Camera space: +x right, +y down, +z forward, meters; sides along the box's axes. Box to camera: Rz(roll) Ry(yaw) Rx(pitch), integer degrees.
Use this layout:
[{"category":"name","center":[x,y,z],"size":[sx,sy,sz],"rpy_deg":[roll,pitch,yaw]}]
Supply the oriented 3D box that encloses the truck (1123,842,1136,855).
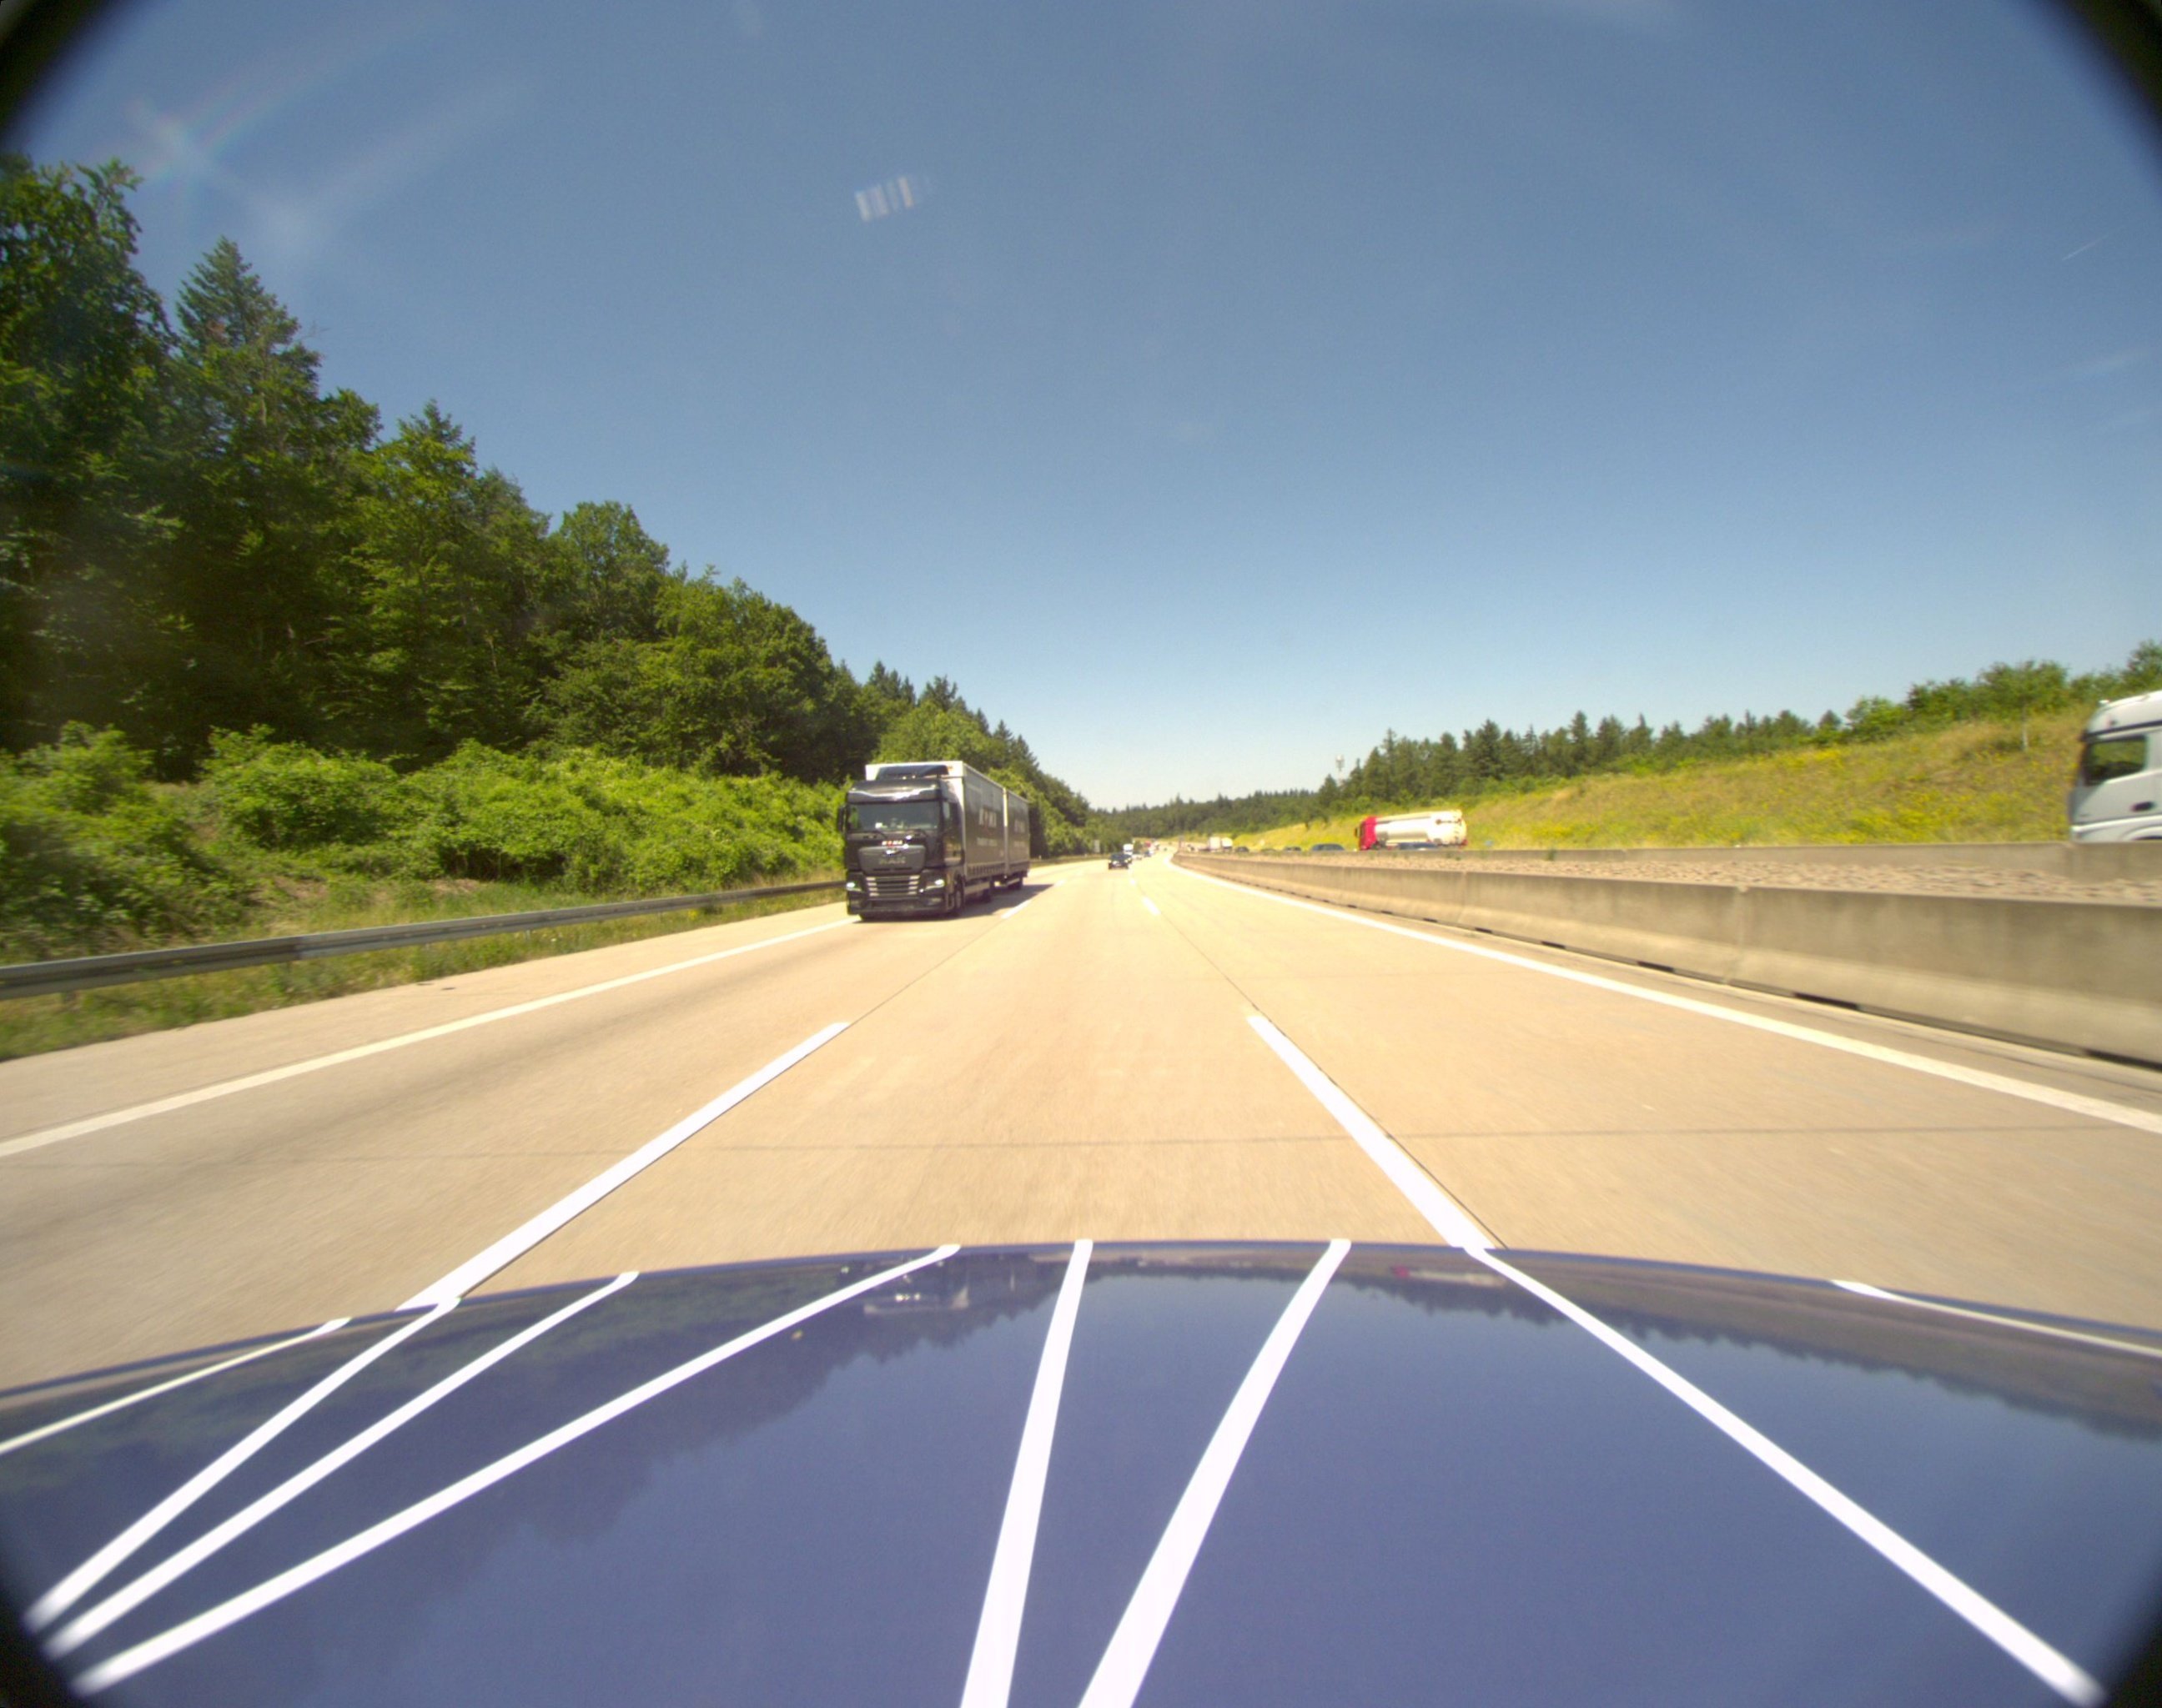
[{"category":"truck","center":[12.140,-1.387,189.892],"size":[2.482,2.779,5.918],"rpy_deg":[-5,1,9]}]

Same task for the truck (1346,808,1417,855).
[{"category":"truck","center":[22.550,-1.639,57.373],"size":[2.940,3.196,5.905],"rpy_deg":[-4,1,1]}]

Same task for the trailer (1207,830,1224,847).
[{"category":"trailer","center":[33.949,-3.832,192.136],"size":[3.167,3.909,13.872],"rpy_deg":[-4,1,7]}]

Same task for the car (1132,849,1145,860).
[{"category":"car","center":[9.784,0.099,129.140],"size":[1.998,1.694,4.400],"rpy_deg":[-5,1,4]}]

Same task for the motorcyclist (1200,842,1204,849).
[{"category":"motorcyclist","center":[32.351,-2.260,203.313],"size":[0.820,1.863,1.492],"rpy_deg":[-2,1,6]}]

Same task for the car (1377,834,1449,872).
[{"category":"car","center":[16.785,-0.062,38.621],"size":[1.998,1.761,4.000],"rpy_deg":[-2,0,2]}]

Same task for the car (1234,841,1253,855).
[{"category":"car","center":[22.373,-0.842,104.680],"size":[1.824,1.786,4.000],"rpy_deg":[-2,1,3]}]

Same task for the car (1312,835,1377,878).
[{"category":"car","center":[13.816,0.114,40.057],"size":[1.998,2.002,4.000],"rpy_deg":[-4,1,2]}]

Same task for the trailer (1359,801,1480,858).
[{"category":"trailer","center":[22.428,-1.561,51.417],"size":[2.940,3.196,11.831],"rpy_deg":[-4,1,1]}]

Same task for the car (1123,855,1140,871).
[{"category":"car","center":[6.285,1.043,93.908],"size":[1.998,1.694,4.400],"rpy_deg":[-5,1,4]}]

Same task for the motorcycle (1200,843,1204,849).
[{"category":"motorcycle","center":[32.342,-2.089,203.423],"size":[1.010,1.540,2.485],"rpy_deg":[-2,1,6]}]

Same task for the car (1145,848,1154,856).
[{"category":"car","center":[16.921,-0.504,187.186],"size":[1.841,1.547,4.001],"rpy_deg":[-4,1,7]}]

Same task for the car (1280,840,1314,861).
[{"category":"car","center":[19.120,-0.325,67.492],"size":[1.998,1.707,4.000],"rpy_deg":[-1,1,2]}]

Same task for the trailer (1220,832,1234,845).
[{"category":"trailer","center":[39.693,-4.179,206.827],"size":[2.731,3.393,8.958],"rpy_deg":[-4,1,7]}]

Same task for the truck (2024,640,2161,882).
[{"category":"truck","center":[20.054,-1.680,12.040],"size":[2.941,4.145,5.760],"rpy_deg":[-4,1,1]}]

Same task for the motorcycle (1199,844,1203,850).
[{"category":"motorcycle","center":[28.120,-1.734,177.567],"size":[0.826,1.364,2.358],"rpy_deg":[-2,0,6]}]

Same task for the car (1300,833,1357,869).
[{"category":"car","center":[13.956,-0.178,43.096],"size":[1.998,1.893,4.038],"rpy_deg":[-2,1,2]}]

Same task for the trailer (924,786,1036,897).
[{"category":"trailer","center":[-3.998,-0.494,32.667],"size":[3.142,3.993,9.088],"rpy_deg":[-2,1,2]}]

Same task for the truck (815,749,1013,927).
[{"category":"truck","center":[-4.321,-0.404,22.819],"size":[3.167,3.993,10.607],"rpy_deg":[-2,0,2]}]

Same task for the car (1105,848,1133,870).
[{"category":"car","center":[3.469,0.424,67.874],"size":[1.930,1.694,4.402],"rpy_deg":[-5,1,9]}]
